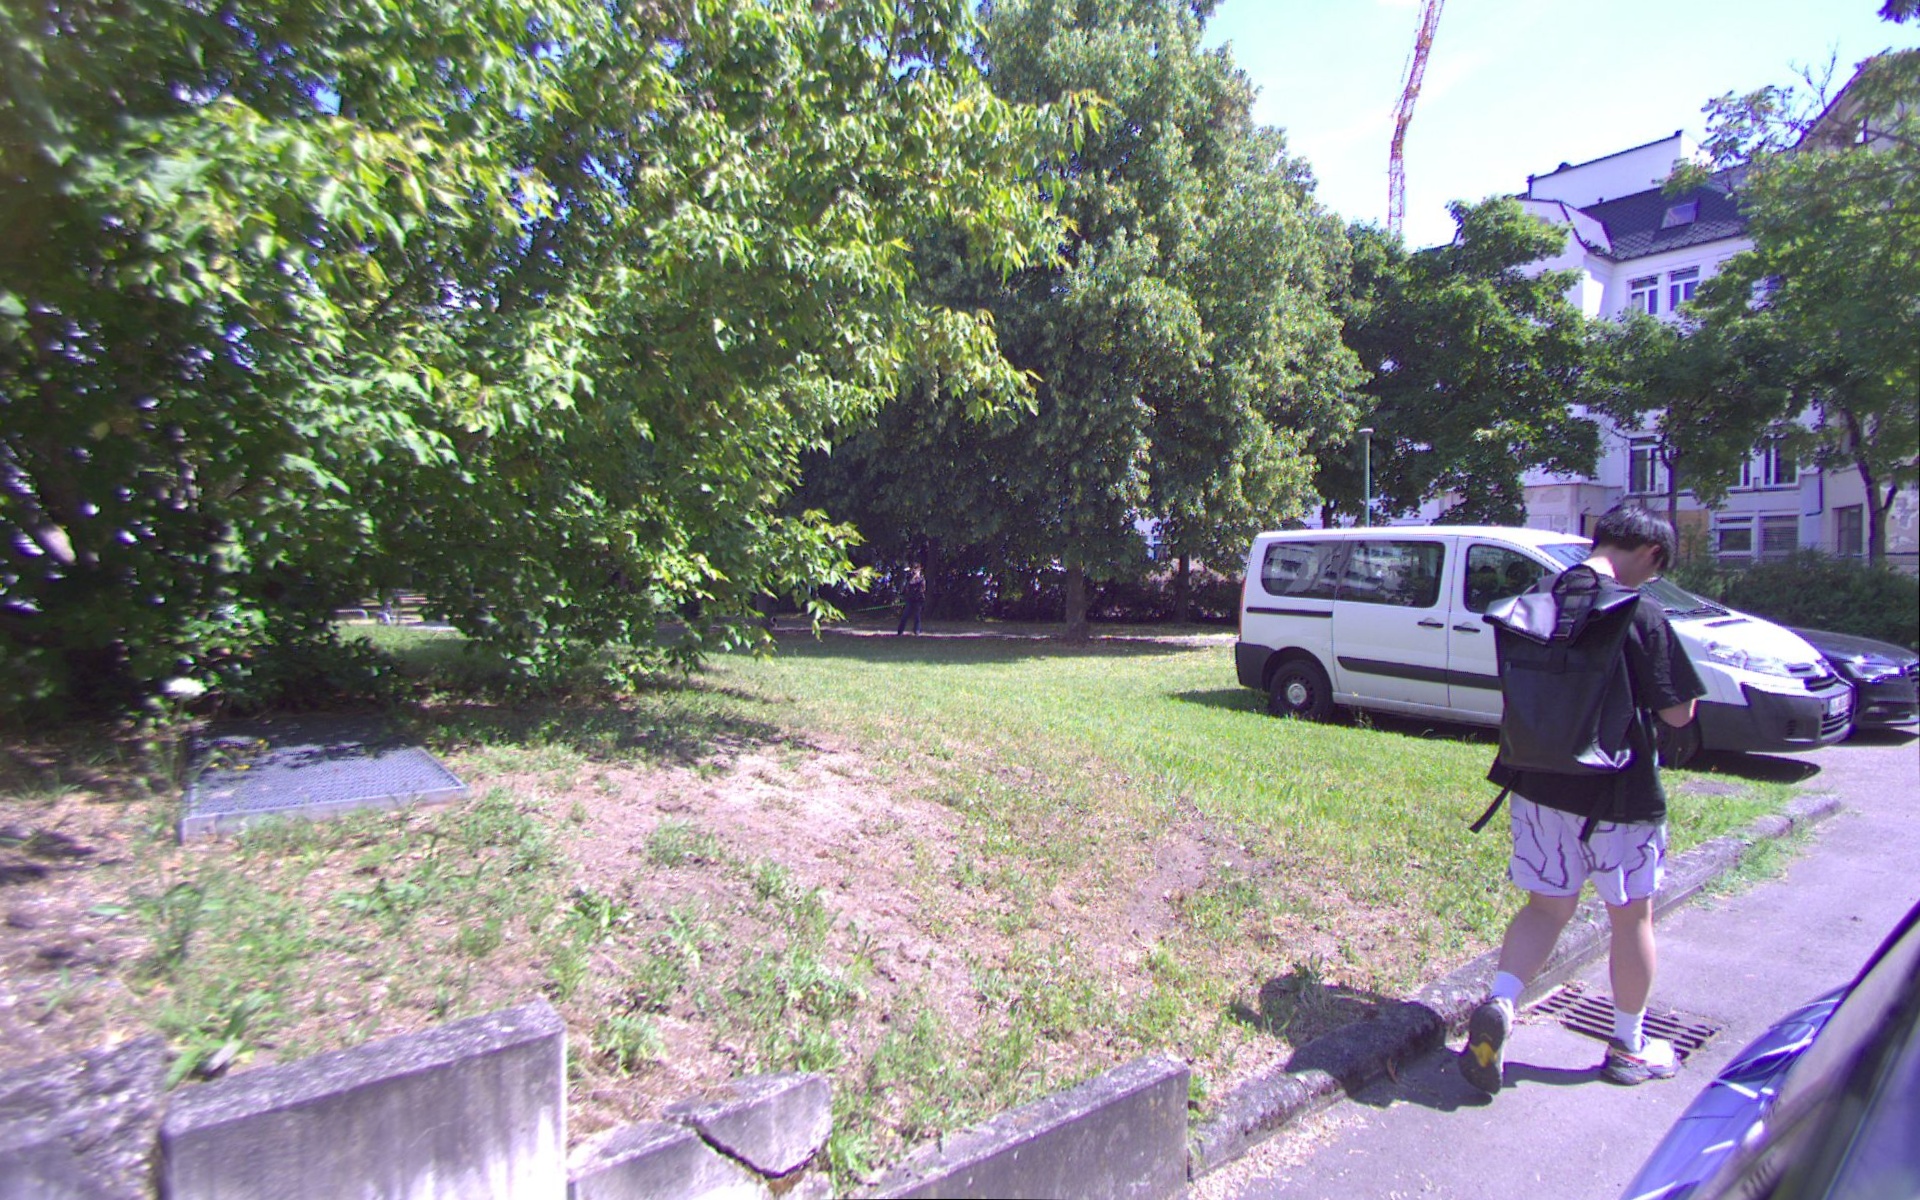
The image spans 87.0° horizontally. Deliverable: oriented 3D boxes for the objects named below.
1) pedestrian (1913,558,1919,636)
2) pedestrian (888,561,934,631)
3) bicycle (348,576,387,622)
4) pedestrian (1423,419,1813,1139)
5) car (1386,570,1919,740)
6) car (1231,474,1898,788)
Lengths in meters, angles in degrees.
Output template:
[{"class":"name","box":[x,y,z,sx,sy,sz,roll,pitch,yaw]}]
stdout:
[{"class":"pedestrian","box":[23.156,-0.060,23.754,0.961,1.842,0.860,1,1,34]},{"class":"pedestrian","box":[-1.123,-0.097,23.263,0.747,1.583,0.730,1,1,42]},{"class":"bicycle","box":[-15.090,-0.043,25.747,0.590,1.098,1.938,0,1,-39]},{"class":"pedestrian","box":[1.946,0.432,3.022,0.737,1.777,0.759,0,1,-36]},{"class":"car","box":[7.084,0.385,10.516,1.799,1.369,4.625,0,1,-37]},{"class":"car","box":[4.975,0.127,9.092,1.963,2.038,4.775,-1,2,-36]}]
